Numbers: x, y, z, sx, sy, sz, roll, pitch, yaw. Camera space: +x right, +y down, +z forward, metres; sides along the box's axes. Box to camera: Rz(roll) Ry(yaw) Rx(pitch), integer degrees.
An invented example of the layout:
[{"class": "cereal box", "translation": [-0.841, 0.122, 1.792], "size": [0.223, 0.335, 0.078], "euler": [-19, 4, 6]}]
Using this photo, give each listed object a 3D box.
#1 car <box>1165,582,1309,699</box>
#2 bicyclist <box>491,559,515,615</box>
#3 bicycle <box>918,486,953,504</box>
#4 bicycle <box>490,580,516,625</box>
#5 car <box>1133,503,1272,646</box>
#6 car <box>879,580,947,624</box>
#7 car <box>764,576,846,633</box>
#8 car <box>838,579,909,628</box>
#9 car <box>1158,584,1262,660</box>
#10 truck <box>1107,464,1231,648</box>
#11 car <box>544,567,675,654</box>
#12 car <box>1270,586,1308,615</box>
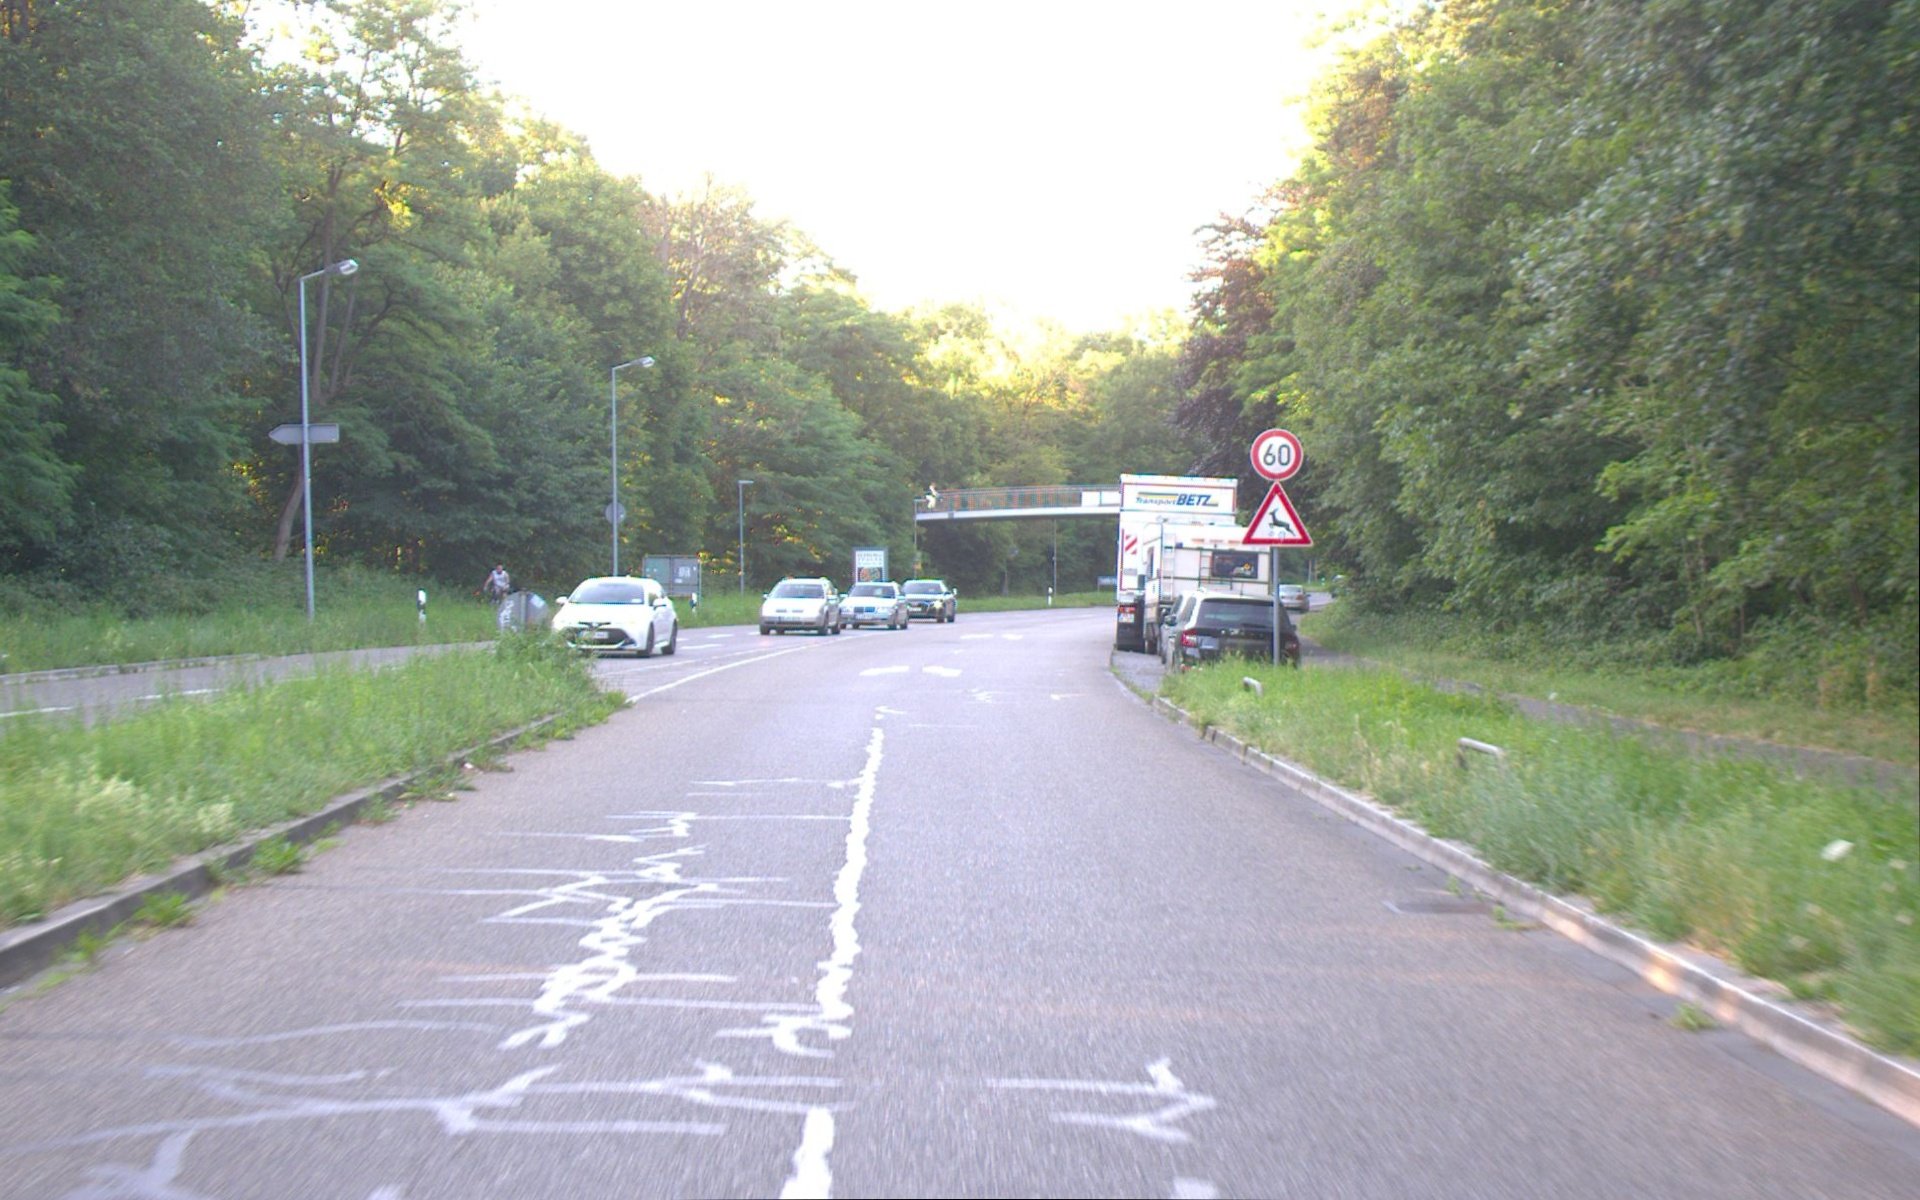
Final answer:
[{"class": "car", "translation": [3.634, 0.509, 45.577], "size": [1.663, 1.401, 3.942], "euler": [3, 0, 2]}, {"class": "bicyclist", "translation": [-12.624, -0.363, 94.953], "size": [0.620, 1.506, 0.847], "euler": [-1, 1, -9]}, {"class": "bicycle", "translation": [-1.332, -5.741, 187.824], "size": [1.845, 0.946, 0.550], "euler": [1, 0, 11]}, {"class": "bicycle", "translation": [-12.634, 0.070, 95.045], "size": [0.629, 1.213, 2.262], "euler": [-1, 1, -9]}, {"class": "car", "translation": [5.037, -0.533, 72.306], "size": [2.408, 2.848, 5.932], "euler": [1, 0, 0]}, {"class": "car", "translation": [-1.622, 0.046, 119.870], "size": [1.892, 1.435, 4.769], "euler": [1, 1, 5]}, {"class": "car", "translation": [-4.025, 0.108, 89.657], "size": [1.716, 1.441, 4.173], "euler": [0, 1, 3]}, {"class": "car", "translation": [-2.552, 0.095, 102.162], "size": [1.720, 1.392, 4.374], "euler": [0, 1, 4]}, {"class": "car", "translation": [4.741, 0.406, 65.632], "size": [1.698, 1.401, 4.076], "euler": [0, 0, 0]}, {"class": "truck", "translation": [4.879, -1.017, 80.333], "size": [2.658, 4.014, 9.721], "euler": [1, 1, 3]}, {"class": "car", "translation": [-6.430, 0.218, 63.390], "size": [1.836, 1.502, 3.937], "euler": [-1, -1, 3]}, {"class": "car", "translation": [16.778, 0.022, 175.182], "size": [1.892, 1.442, 4.109], "euler": [0, 0, 6]}]
